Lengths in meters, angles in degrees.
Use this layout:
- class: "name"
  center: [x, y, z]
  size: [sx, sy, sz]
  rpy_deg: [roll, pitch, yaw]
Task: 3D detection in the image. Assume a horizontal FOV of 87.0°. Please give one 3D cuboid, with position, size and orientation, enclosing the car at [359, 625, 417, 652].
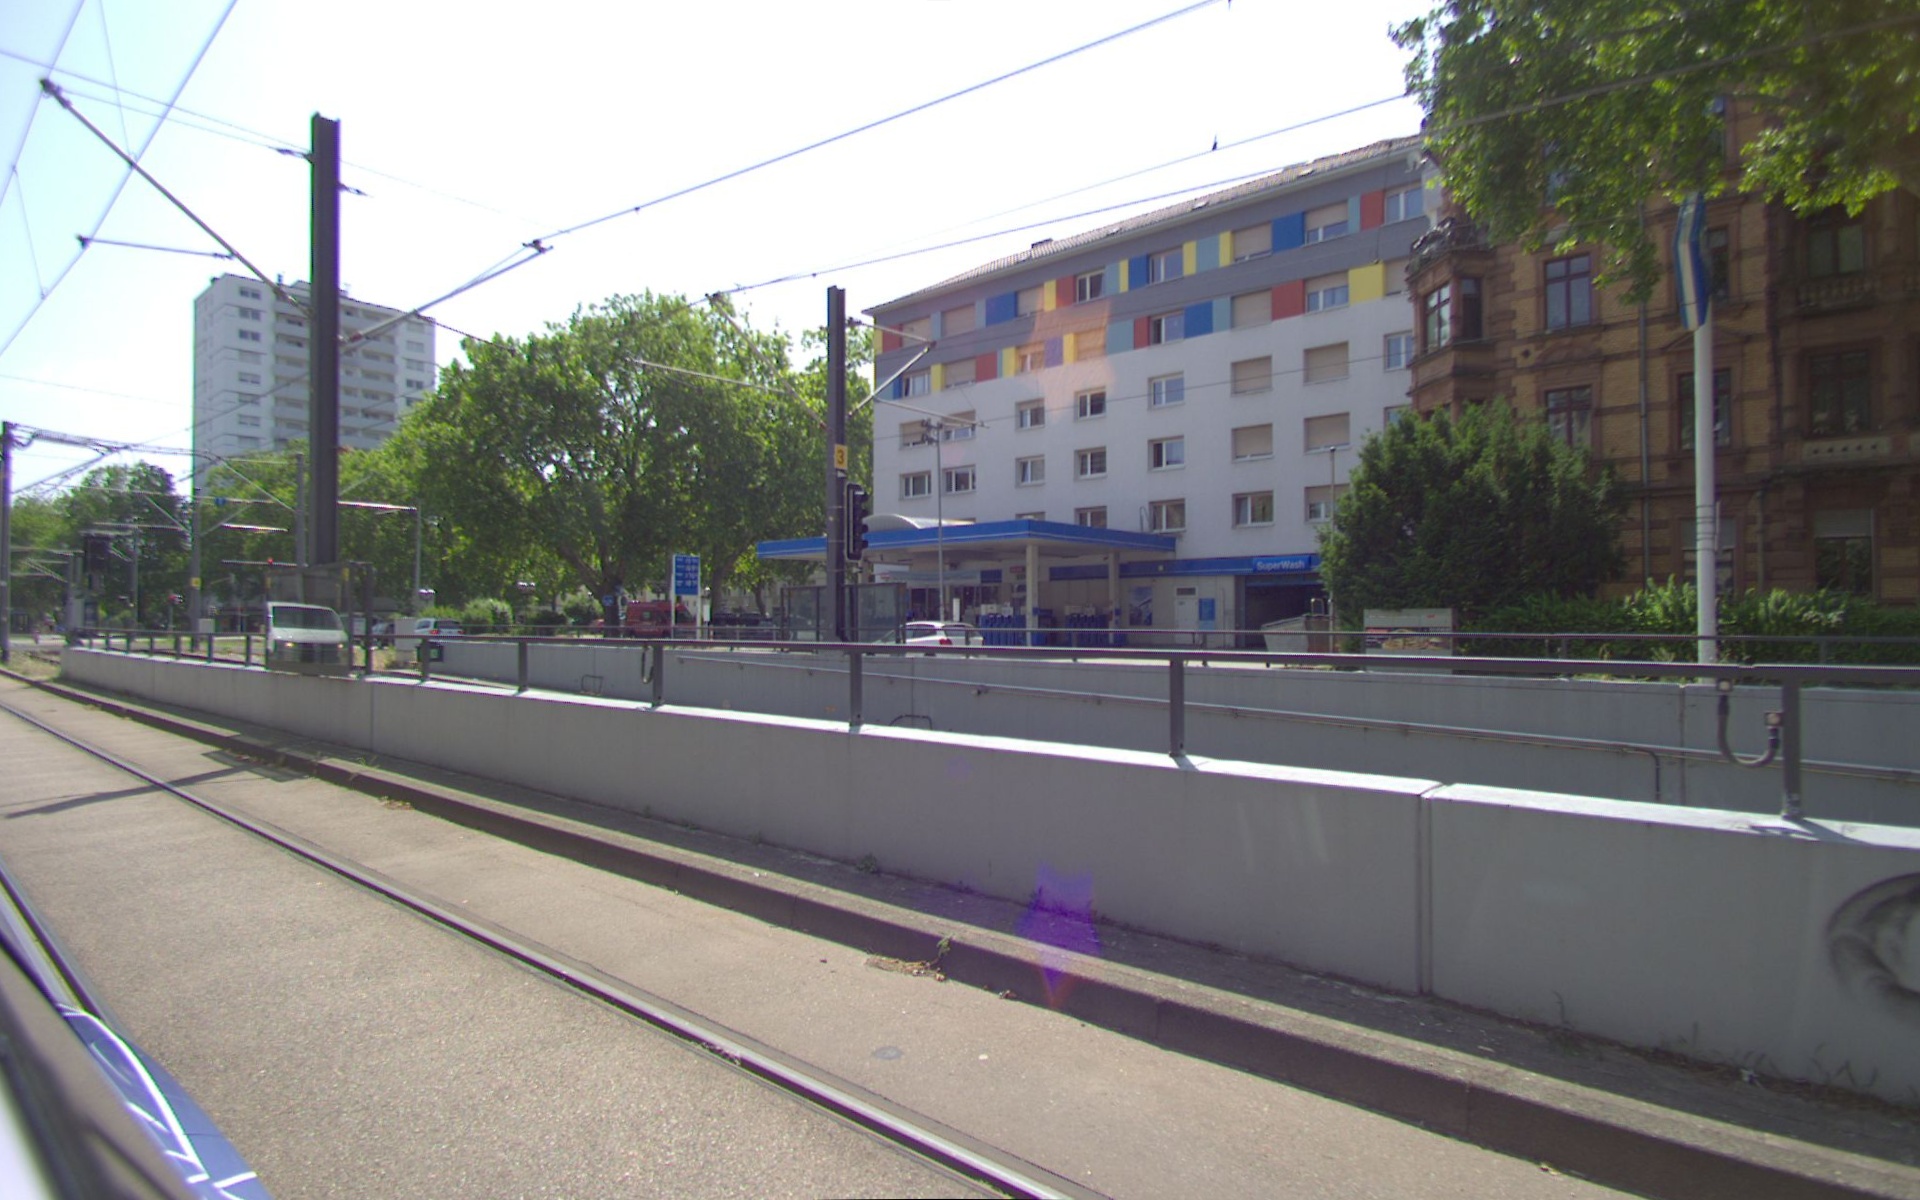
- class: "car"
  center: [-31.692, 2.126, 56.067]
  size: [3.780, 1.431, 1.579]
  rpy_deg: [-2, -4, 41]

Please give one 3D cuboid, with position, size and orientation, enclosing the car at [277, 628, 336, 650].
- class: "car"
  center: [-41.938, 2.485, 64.913]
  size: [4.625, 1.369, 1.927]
  rpy_deg: [-2, -2, 40]

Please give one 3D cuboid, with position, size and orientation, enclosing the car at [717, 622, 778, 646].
- class: "car"
  center: [-13.784, 2.198, 65.654]
  size: [3.998, 1.538, 1.843]
  rpy_deg: [-2, -2, 41]

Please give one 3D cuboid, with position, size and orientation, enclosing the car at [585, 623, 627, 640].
- class: "car"
  center: [-31.956, 2.843, 91.318]
  size: [1.471, 1.394, 3.300]
  rpy_deg: [-2, -1, 40]

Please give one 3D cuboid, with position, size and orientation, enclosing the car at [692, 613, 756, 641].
- class: "car"
  center: [-14.853, 1.673, 63.704]
  size: [3.998, 1.733, 1.973]
  rpy_deg: [-1, -2, 41]

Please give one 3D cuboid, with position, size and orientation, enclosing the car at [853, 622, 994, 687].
- class: "car"
  center: [-1.026, 1.368, 26.459]
  size: [1.525, 1.573, 3.883]
  rpy_deg: [0, -1, -42]

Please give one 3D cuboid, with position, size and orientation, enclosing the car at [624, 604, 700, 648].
- class: "car"
  center: [-17.555, 1.492, 59.451]
  size: [4.979, 2.410, 1.828]
  rpy_deg: [0, 1, 41]

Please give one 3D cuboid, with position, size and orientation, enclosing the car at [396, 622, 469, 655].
- class: "car"
  center: [-26.888, 1.944, 51.525]
  size: [4.601, 1.638, 1.827]
  rpy_deg: [-1, -3, 42]

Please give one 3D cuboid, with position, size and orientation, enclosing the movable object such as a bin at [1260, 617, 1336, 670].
- class: "movable object such as a bin"
  center: [9.390, 1.174, 28.099]
  size: [1.468, 1.395, 1.764]
  rpy_deg: [-1, -1, 39]

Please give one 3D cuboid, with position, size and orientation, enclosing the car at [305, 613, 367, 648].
- class: "car"
  center: [-37.618, 1.850, 60.965]
  size: [4.801, 2.006, 1.759]
  rpy_deg: [-2, -2, 40]

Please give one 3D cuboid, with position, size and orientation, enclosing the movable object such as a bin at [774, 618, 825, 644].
- class: "movable object such as a bin"
  center: [-10.559, 2.026, 66.592]
  size: [1.985, 1.623, 2.689]
  rpy_deg: [-1, -1, 41]
